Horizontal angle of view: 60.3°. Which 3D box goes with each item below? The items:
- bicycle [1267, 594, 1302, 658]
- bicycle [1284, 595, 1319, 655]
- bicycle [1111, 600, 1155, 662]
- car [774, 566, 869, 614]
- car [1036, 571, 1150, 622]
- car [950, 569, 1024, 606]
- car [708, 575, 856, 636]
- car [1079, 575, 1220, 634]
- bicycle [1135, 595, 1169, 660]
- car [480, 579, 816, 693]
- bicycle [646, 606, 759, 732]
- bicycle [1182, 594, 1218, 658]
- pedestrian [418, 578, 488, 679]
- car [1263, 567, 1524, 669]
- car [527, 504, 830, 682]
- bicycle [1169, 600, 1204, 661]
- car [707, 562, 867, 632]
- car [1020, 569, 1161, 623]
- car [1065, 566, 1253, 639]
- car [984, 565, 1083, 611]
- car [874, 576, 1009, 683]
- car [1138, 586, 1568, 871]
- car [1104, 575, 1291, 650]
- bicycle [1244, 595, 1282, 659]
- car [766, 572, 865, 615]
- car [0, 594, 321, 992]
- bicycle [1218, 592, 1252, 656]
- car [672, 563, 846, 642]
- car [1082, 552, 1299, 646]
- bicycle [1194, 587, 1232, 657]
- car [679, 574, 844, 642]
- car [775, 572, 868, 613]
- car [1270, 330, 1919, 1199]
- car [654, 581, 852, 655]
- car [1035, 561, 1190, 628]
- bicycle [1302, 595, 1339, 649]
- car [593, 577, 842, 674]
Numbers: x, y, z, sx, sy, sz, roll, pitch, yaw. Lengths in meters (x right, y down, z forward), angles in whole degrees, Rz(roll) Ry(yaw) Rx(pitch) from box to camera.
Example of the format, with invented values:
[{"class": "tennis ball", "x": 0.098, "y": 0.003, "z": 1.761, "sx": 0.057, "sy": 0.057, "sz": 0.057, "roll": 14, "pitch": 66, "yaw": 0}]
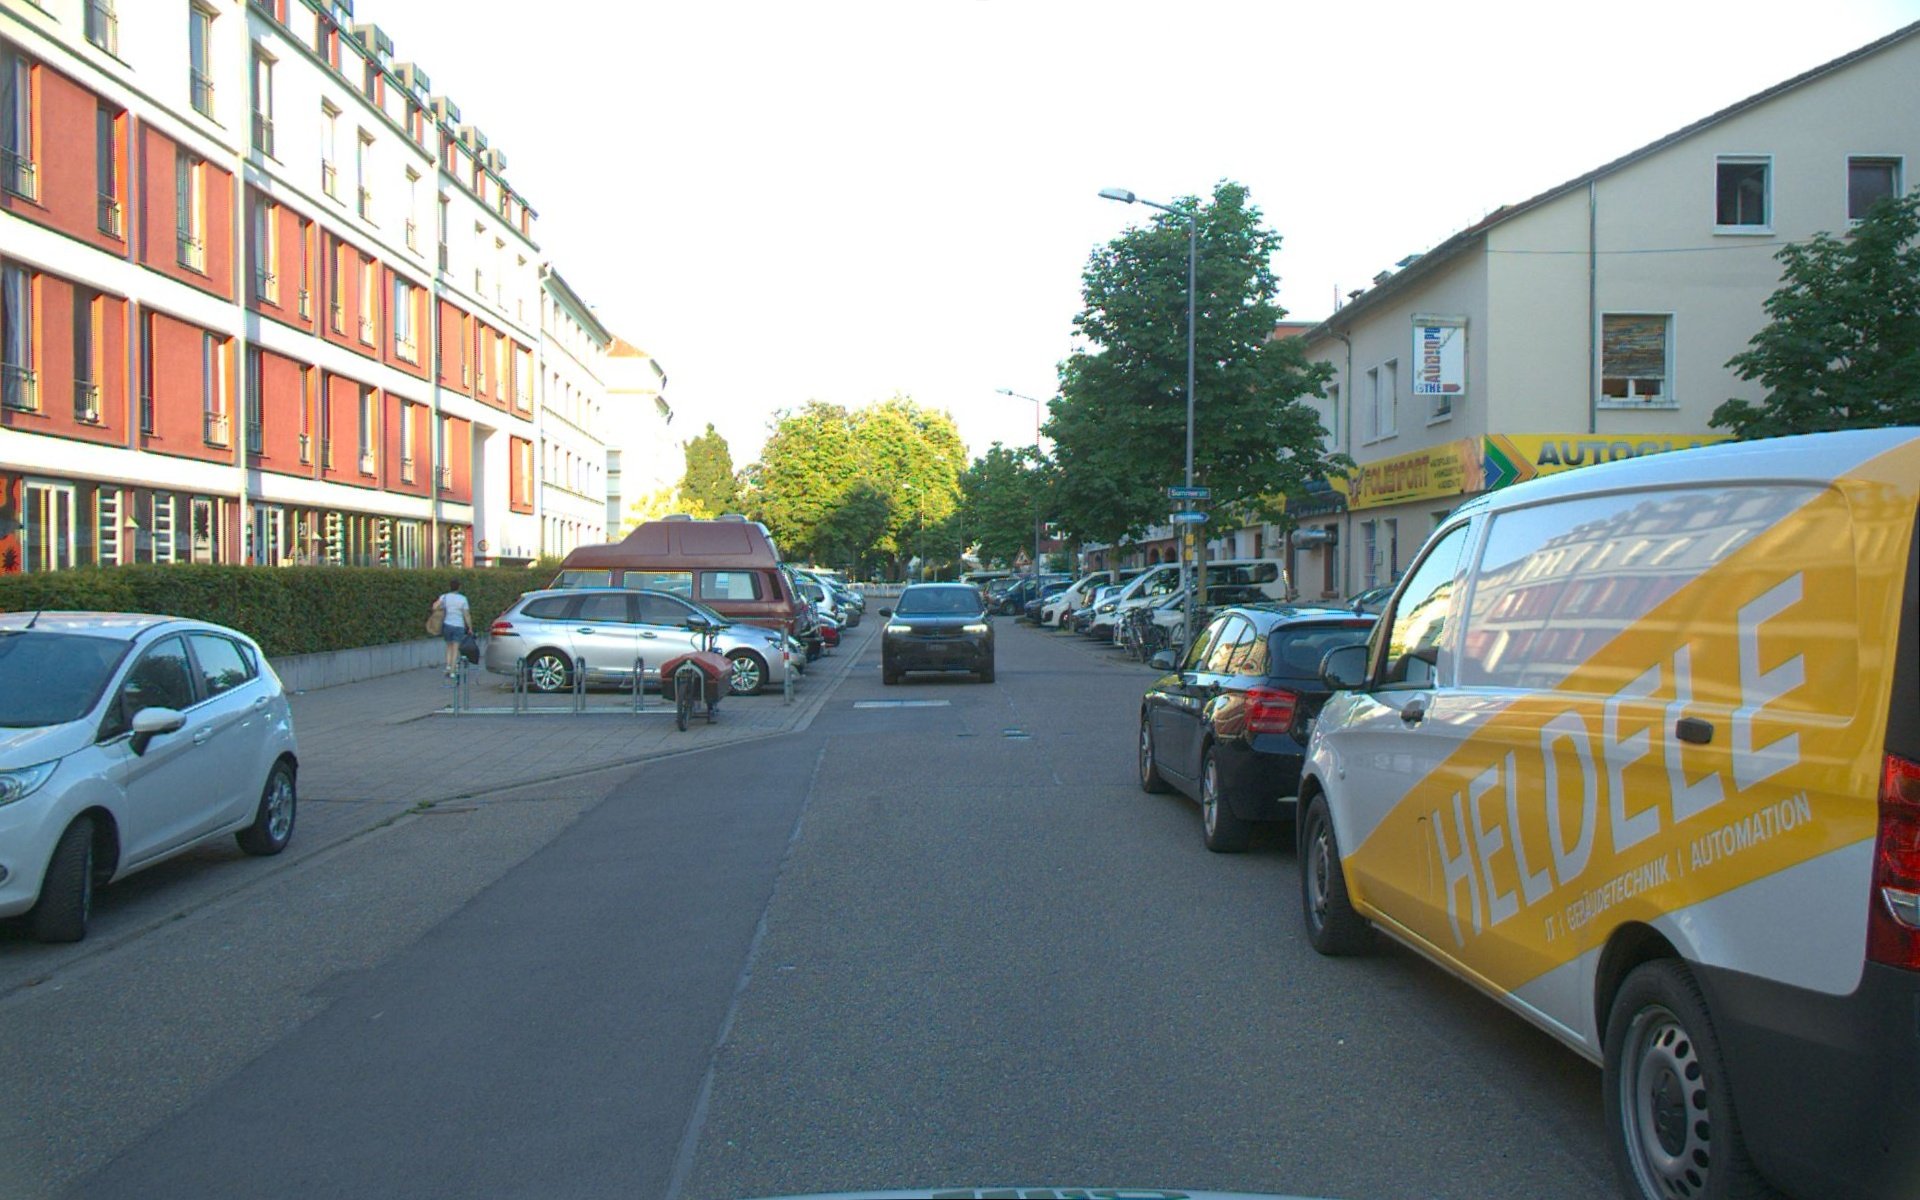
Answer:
[{"class": "bicycle", "x": 6.469, "y": 0.502, "z": 33.021, "sx": 0.346, "sy": 1.221, "sz": 1.481, "roll": -1, "pitch": 1, "yaw": -1}, {"class": "bicycle", "x": 6.820, "y": 0.486, "z": 33.110, "sx": 0.346, "sy": 1.163, "sz": 1.481, "roll": -1, "pitch": 1, "yaw": -1}, {"class": "bicycle", "x": 3.429, "y": 0.603, "z": 32.935, "sx": 0.429, "sy": 1.150, "sz": 2.014, "roll": -1, "pitch": 1, "yaw": -7}, {"class": "car", "x": -6.652, "y": -0.495, "z": 79.768, "sx": 4.442, "sy": 2.171, "sz": 2.000, "roll": 1, "pitch": 1, "yaw": -2}, {"class": "car", "x": 5.199, "y": -0.144, "z": 65.117, "sx": 4.231, "sy": 1.835, "sz": 1.810, "roll": -2, "pitch": 1, "yaw": -3}, {"class": "car", "x": 1.511, "y": -0.718, "z": 93.199, "sx": 3.892, "sy": 1.945, "sz": 2.047, "roll": -2, "pitch": 1, "yaw": -6}, {"class": "car", "x": -5.199, "y": 0.150, "z": 48.744, "sx": 4.170, "sy": 1.681, "sz": 1.887, "roll": 1, "pitch": 1, "yaw": -2}, {"class": "car", "x": 5.476, "y": 0.116, "z": 48.088, "sx": 3.832, "sy": 1.552, "sz": 1.939, "roll": -2, "pitch": 1, "yaw": -1}, {"class": "bicycle", "x": 3.833, "y": 0.531, "z": 33.130, "sx": 0.378, "sy": 1.221, "sz": 2.017, "roll": -1, "pitch": 1, "yaw": -1}, {"class": "car", "x": -4.371, "y": 0.487, "z": 23.760, "sx": 4.525, "sy": 1.485, "sz": 1.879, "roll": 1, "pitch": 1, "yaw": -5}, {"class": "bicycle", "x": -2.833, "y": 0.718, "z": 18.500, "sx": 0.791, "sy": 1.242, "sz": 2.865, "roll": 1, "pitch": 1, "yaw": 0}, {"class": "bicycle", "x": 4.808, "y": 0.497, "z": 33.172, "sx": 0.378, "sy": 1.221, "sz": 2.017, "roll": -1, "pitch": 1, "yaw": -1}, {"class": "pedestrian", "x": -7.851, "y": 0.426, "z": 25.618, "sx": 0.815, "sy": 1.527, "sz": 0.798, "roll": 1, "pitch": 0, "yaw": -1}, {"class": "car", "x": 7.324, "y": 0.281, "z": 28.191, "sx": 3.968, "sy": 1.540, "sz": 1.756, "roll": -2, "pitch": 2, "yaw": -1}, {"class": "car", "x": -4.396, "y": -0.122, "z": 26.332, "sx": 4.419, "sy": 2.629, "sz": 2.000, "roll": 1, "pitch": 1, "yaw": 0}, {"class": "bicycle", "x": 4.530, "y": 0.591, "z": 33.180, "sx": 0.378, "sy": 1.133, "sz": 2.017, "roll": -1, "pitch": 1, "yaw": -1}, {"class": "car", "x": -5.329, "y": -0.102, "z": 51.294, "sx": 4.752, "sy": 2.056, "sz": 1.906, "roll": 1, "pitch": 1, "yaw": -2}, {"class": "car", "x": 4.699, "y": -0.156, "z": 60.199, "sx": 4.846, "sy": 1.718, "sz": 2.076, "roll": -2, "pitch": 1, "yaw": -3}, {"class": "car", "x": 5.384, "y": 0.050, "z": 45.259, "sx": 4.843, "sy": 1.772, "sz": 2.049, "roll": -2, "pitch": 1, "yaw": -1}, {"class": "car", "x": 3.451, "y": -0.576, "z": 77.649, "sx": 4.393, "sy": 1.945, "sz": 1.686, "roll": -2, "pitch": 1, "yaw": -6}, {"class": "car", "x": -0.220, "y": 0.416, "z": 26.606, "sx": 1.742, "sy": 1.544, "sz": 4.003, "roll": -1, "pitch": 1, "yaw": 5}, {"class": "car", "x": 2.299, "y": 0.663, "z": 10.831, "sx": 1.686, "sy": 1.449, "sz": 4.252, "roll": 1, "pitch": 1, "yaw": -2}, {"class": "car", "x": 5.317, "y": 0.261, "z": 37.320, "sx": 3.841, "sy": 1.476, "sz": 1.767, "roll": -2, "pitch": 1, "yaw": -4}, {"class": "bicycle", "x": 6.048, "y": 0.520, "z": 33.021, "sx": 0.436, "sy": 1.221, "sz": 1.481, "roll": -1, "pitch": 1, "yaw": -1}, {"class": "car", "x": -6.279, "y": -0.295, "z": 72.368, "sx": 4.170, "sy": 1.744, "sz": 2.000, "roll": 1, "pitch": 1, "yaw": -2}, {"class": "car", "x": -4.804, "y": 0.773, "z": 8.628, "sx": 1.618, "sy": 1.557, "sz": 4.014, "roll": 0, "pitch": 1, "yaw": -4}, {"class": "bicycle", "x": 5.479, "y": 0.468, "z": 33.039, "sx": 0.378, "sy": 1.221, "sz": 1.481, "roll": -1, "pitch": 1, "yaw": -1}, {"class": "car", "x": -5.036, "y": 0.047, "z": 41.918, "sx": 4.170, "sy": 1.868, "sz": 2.000, "roll": 1, "pitch": 1, "yaw": -2}, {"class": "car", "x": 5.517, "y": -0.035, "z": 40.109, "sx": 4.889, "sy": 2.018, "sz": 2.219, "roll": -2, "pitch": 1, "yaw": -1}, {"class": "bicycle", "x": 5.063, "y": 0.422, "z": 33.186, "sx": 0.378, "sy": 1.327, "sz": 2.017, "roll": -1, "pitch": 1, "yaw": -1}, {"class": "car", "x": -5.276, "y": 0.195, "z": 44.386, "sx": 4.170, "sy": 1.689, "sz": 2.000, "roll": 1, "pitch": 1, "yaw": -2}, {"class": "car", "x": -6.445, "y": -0.355, "z": 77.136, "sx": 4.170, "sy": 1.780, "sz": 2.000, "roll": 1, "pitch": 1, "yaw": -2}, {"class": "car", "x": 2.463, "y": 0.477, "z": 5.248, "sx": 1.855, "sy": 1.916, "sz": 5.080, "roll": 0, "pitch": 1, "yaw": -2}, {"class": "car", "x": -4.509, "y": 0.376, "z": 36.512, "sx": 4.123, "sy": 1.516, "sz": 1.849, "roll": 1, "pitch": 1, "yaw": -1}, {"class": "car", "x": 5.067, "y": -0.191, "z": 55.401, "sx": 4.846, "sy": 1.992, "sz": 2.048, "roll": -2, "pitch": 1, "yaw": -3}, {"class": "bicycle", "x": 7.214, "y": 0.424, "z": 33.164, "sx": 0.380, "sy": 1.035, "sz": 1.481, "roll": -1, "pitch": 1, "yaw": -1}, {"class": "car", "x": -4.161, "y": 0.417, "z": 28.911, "sx": 4.125, "sy": 1.565, "sz": 1.790, "roll": 1, "pitch": 1, "yaw": -3}]
